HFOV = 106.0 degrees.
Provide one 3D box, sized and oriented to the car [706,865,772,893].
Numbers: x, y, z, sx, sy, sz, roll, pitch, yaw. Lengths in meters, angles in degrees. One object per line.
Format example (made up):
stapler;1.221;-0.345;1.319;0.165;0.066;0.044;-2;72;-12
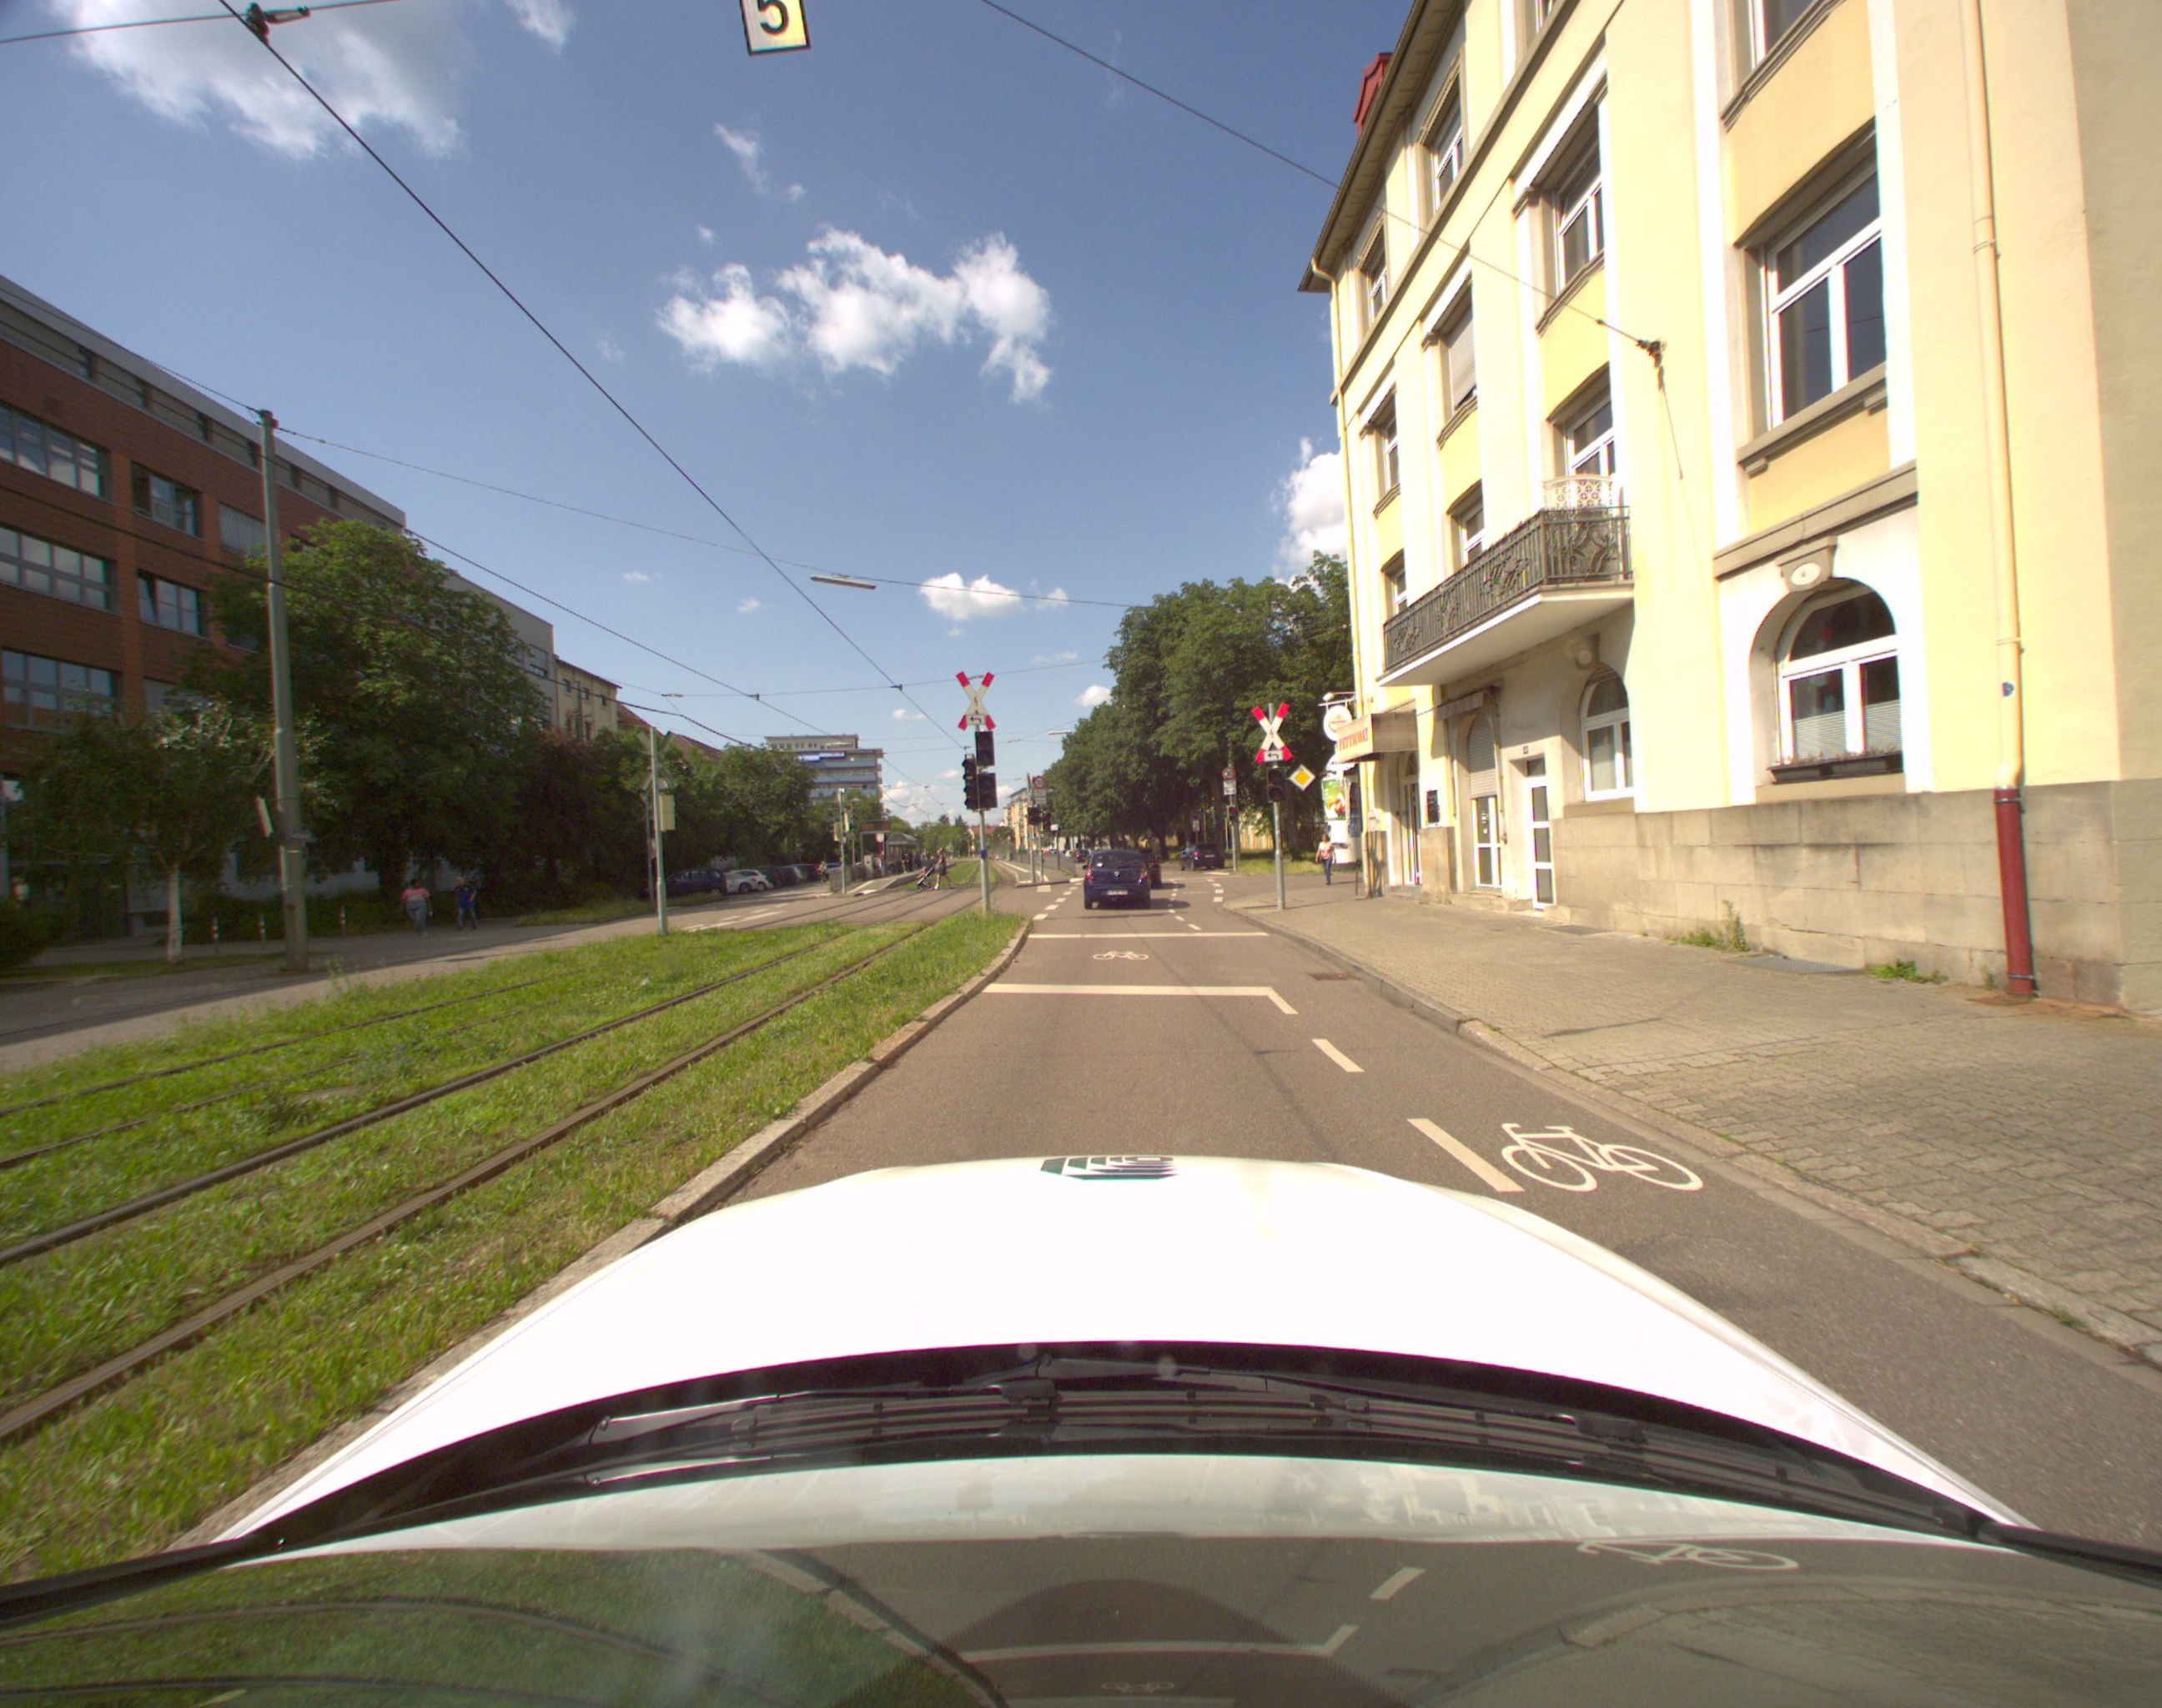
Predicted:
car;-21.278;1.549;50.670;3.409;1.505;1.525;-3;0;-44

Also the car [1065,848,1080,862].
car;-1.111;0.154;107.015;1.615;1.750;3.992;-3;0;-6

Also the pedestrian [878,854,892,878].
pedestrian;-13.543;0.838;56.338;0.661;1.569;0.686;-4;0;1

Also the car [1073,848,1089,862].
car;-0.003;0.057;98.496;1.823;1.537;3.998;-4;0;-1

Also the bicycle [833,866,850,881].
bicycle;-20.547;1.703;69.844;1.155;1.177;1.780;-4;0;-13

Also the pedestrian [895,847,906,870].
pedestrian;-13.837;0.332;62.572;0.654;1.692;0.655;-4;0;-6

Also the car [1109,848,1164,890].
car;1.943;0.478;29.342;1.695;1.368;3.514;-1;1;0

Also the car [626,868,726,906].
car;-20.591;1.664;41.535;1.704;1.640;4.158;-3;0;44

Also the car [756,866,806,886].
car;-22.841;1.695;62.116;1.437;1.309;3.268;-3;0;35

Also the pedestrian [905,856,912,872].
pedestrian;-15.842;0.937;74.621;0.489;1.452;0.461;-4;0;-16

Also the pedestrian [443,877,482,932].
pedestrian;-19.242;1.564;25.346;0.554;1.657;0.747;-3;0;2

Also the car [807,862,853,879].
car;-24.942;1.662;80.935;1.694;1.367;4.025;-4;0;43

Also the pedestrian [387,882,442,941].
pedestrian;-18.717;1.606;22.893;0.742;1.574;0.890;-3;-1;2

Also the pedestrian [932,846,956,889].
pedestrian;-5.953;0.599;35.482;0.870;1.775;1.001;-5;0;-8

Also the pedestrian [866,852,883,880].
pedestrian;-13.039;0.760;51.420;0.705;1.726;0.672;-3;0;36

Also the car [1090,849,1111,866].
car;1.948;0.294;80.526;1.846;1.515;3.998;-3;0;-1

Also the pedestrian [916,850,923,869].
pedestrian;-14.759;0.500;74.509;0.489;1.712;0.461;-4;0;-16

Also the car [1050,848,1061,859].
car;-4.169;-0.088;131.751;1.663;1.771;3.997;-3;0;-2

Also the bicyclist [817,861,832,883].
bicyclist;-19.401;1.357;61.684;0.783;1.581;0.863;-4;0;-3

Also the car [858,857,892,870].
car;-28.120;1.317;111.145;4.022;1.447;1.707;-3;0;-41

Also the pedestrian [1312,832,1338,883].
pedestrian;8.224;0.115;27.481;0.666;1.648;0.768;-4;-1;22

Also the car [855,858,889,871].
car;-27.212;1.333;105.969;1.618;1.385;4.026;-3;0;38

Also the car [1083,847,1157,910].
car;1.003;0.579;21.882;1.761;1.462;3.777;-2;1;1

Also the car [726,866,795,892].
car;-21.977;1.706;55.970;1.669;1.456;4.025;-4;0;43

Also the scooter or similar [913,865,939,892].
scooter or similar;-6.675;1.046;35.057;0.953;1.064;0.795;-5;0;-7

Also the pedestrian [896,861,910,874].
pedestrian;-13.977;1.062;63.994;0.923;0.989;0.796;-4;-1;-5

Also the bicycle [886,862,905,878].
bicycle;-12.776;1.077;56.181;0.683;0.974;1.773;-5;1;4

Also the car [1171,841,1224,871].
car;6.181;0.090;43.479;1.764;1.433;3.894;-4;0;-7

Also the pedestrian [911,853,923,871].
pedestrian;-13.811;0.696;68.627;0.648;1.426;0.567;-4;0;31

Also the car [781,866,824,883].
car;-24.227;1.759;70.889;1.437;1.309;3.268;-3;0;38

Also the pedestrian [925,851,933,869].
pedestrian;-16.811;0.640;90.048;0.661;2.013;0.800;-3;0;-12

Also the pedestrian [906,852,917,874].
pedestrian;-14.157;0.751;67.978;0.602;1.766;0.639;-3;0;3

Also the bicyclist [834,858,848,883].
bicyclist;-20.576;1.428;69.826;0.949;2.013;1.568;-5;0;-14

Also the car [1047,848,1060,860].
car;-4.253;-0.048;125.628;1.825;1.761;3.998;-3;0;-1

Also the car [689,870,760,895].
car;-20.801;1.671;47.557;1.525;1.236;3.409;-3;0;44

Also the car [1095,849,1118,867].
car;2.395;0.330;76.013;1.856;1.445;3.998;-5;0;-1

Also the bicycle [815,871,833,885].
bicycle;-19.388;1.803;61.511;0.679;0.971;2.176;-4;0;-2

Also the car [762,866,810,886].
car;-23.381;1.739;64.697;1.437;1.309;3.268;-3;0;38
